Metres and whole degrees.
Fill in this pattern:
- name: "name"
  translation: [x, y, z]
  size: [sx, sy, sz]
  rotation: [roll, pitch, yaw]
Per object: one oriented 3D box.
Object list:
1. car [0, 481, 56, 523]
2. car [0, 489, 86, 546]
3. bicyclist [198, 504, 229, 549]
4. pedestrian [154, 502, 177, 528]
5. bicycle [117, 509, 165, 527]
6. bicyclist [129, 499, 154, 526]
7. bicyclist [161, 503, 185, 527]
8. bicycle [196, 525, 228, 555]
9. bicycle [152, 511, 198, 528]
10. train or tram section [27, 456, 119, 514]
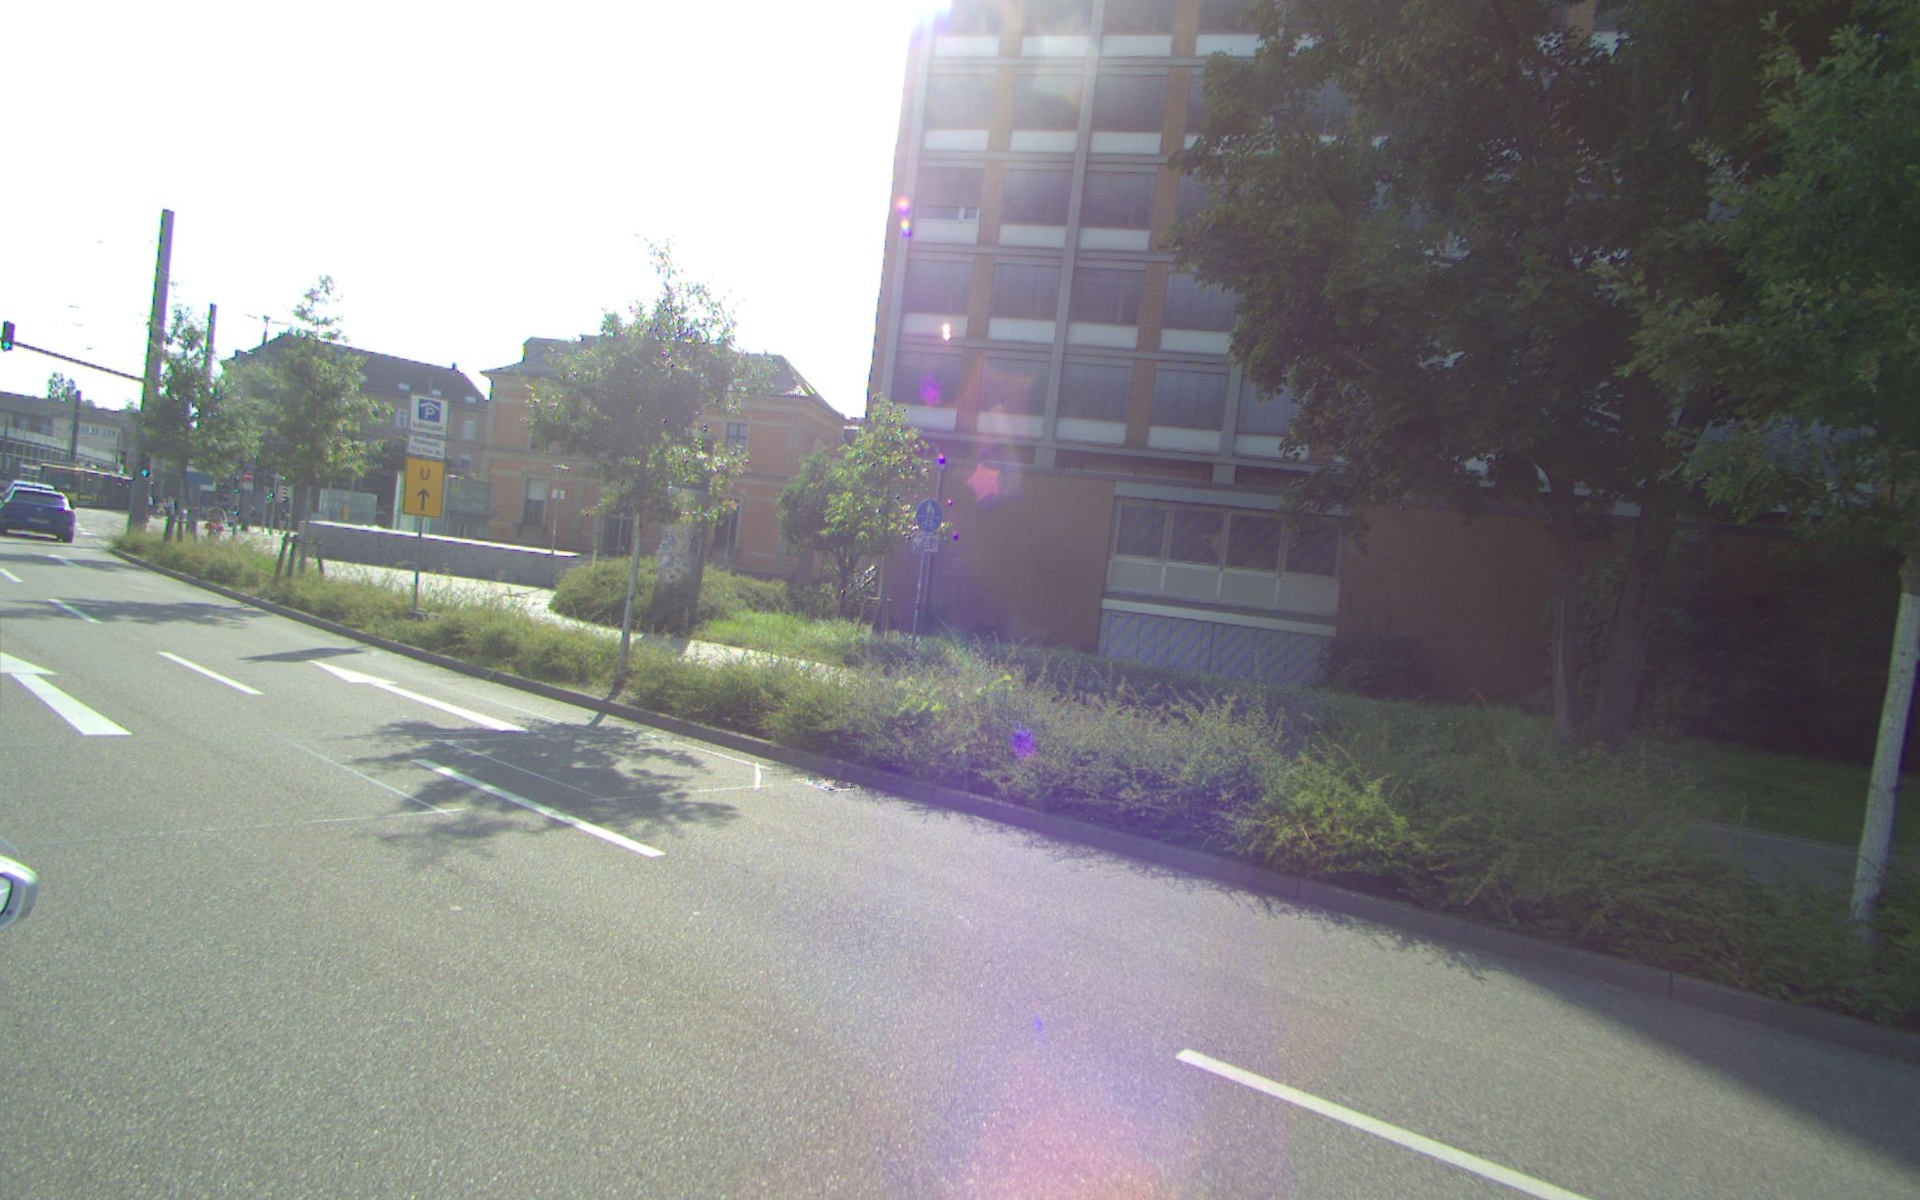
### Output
- name: "car"
  translation: [-39.576, -4.180, 42.547]
  size: [1.819, 1.446, 4.357]
  rotation: [6, 1, -43]
- name: "car"
  translation: [-29.699, -2.691, 32.486]
  size: [4.354, 1.446, 1.821]
  rotation: [7, 1, 45]
- name: "bicyclist"
  translation: [-27.470, -2.711, 37.002]
  size: [0.716, 1.532, 0.992]
  rotation: [6, 1, -42]
- name: "pedestrian"
  translation: [-60.521, -6.482, 76.629]
  size: [0.844, 1.820, 0.928]
  rotation: [7, 1, 1]
- name: "bicycle"
  translation: [-62.185, -6.227, 76.386]
  size: [1.073, 0.976, 2.627]
  rotation: [7, 0, 18]
- name: "bicyclist"
  translation: [-62.137, -6.651, 76.361]
  size: [1.072, 1.822, 0.937]
  rotation: [7, 1, 19]
- name: "bicyclist"
  translation: [-61.778, -6.691, 78.953]
  size: [1.072, 1.701, 0.937]
  rotation: [7, 1, 19]
- name: "bicycle"
  translation: [-27.515, -2.222, 37.004]
  size: [0.716, 0.972, 1.899]
  rotation: [6, 1, -41]
- name: "bicycle"
  translation: [-61.767, -6.314, 79.149]
  size: [1.073, 0.976, 2.627]
  rotation: [7, 0, 18]
- name: "train or tram section"
  translation: [-70.305, -8.996, 79.999]
  size: [2.631, 3.746, 10.516]
  rotation: [6, 1, -27]
